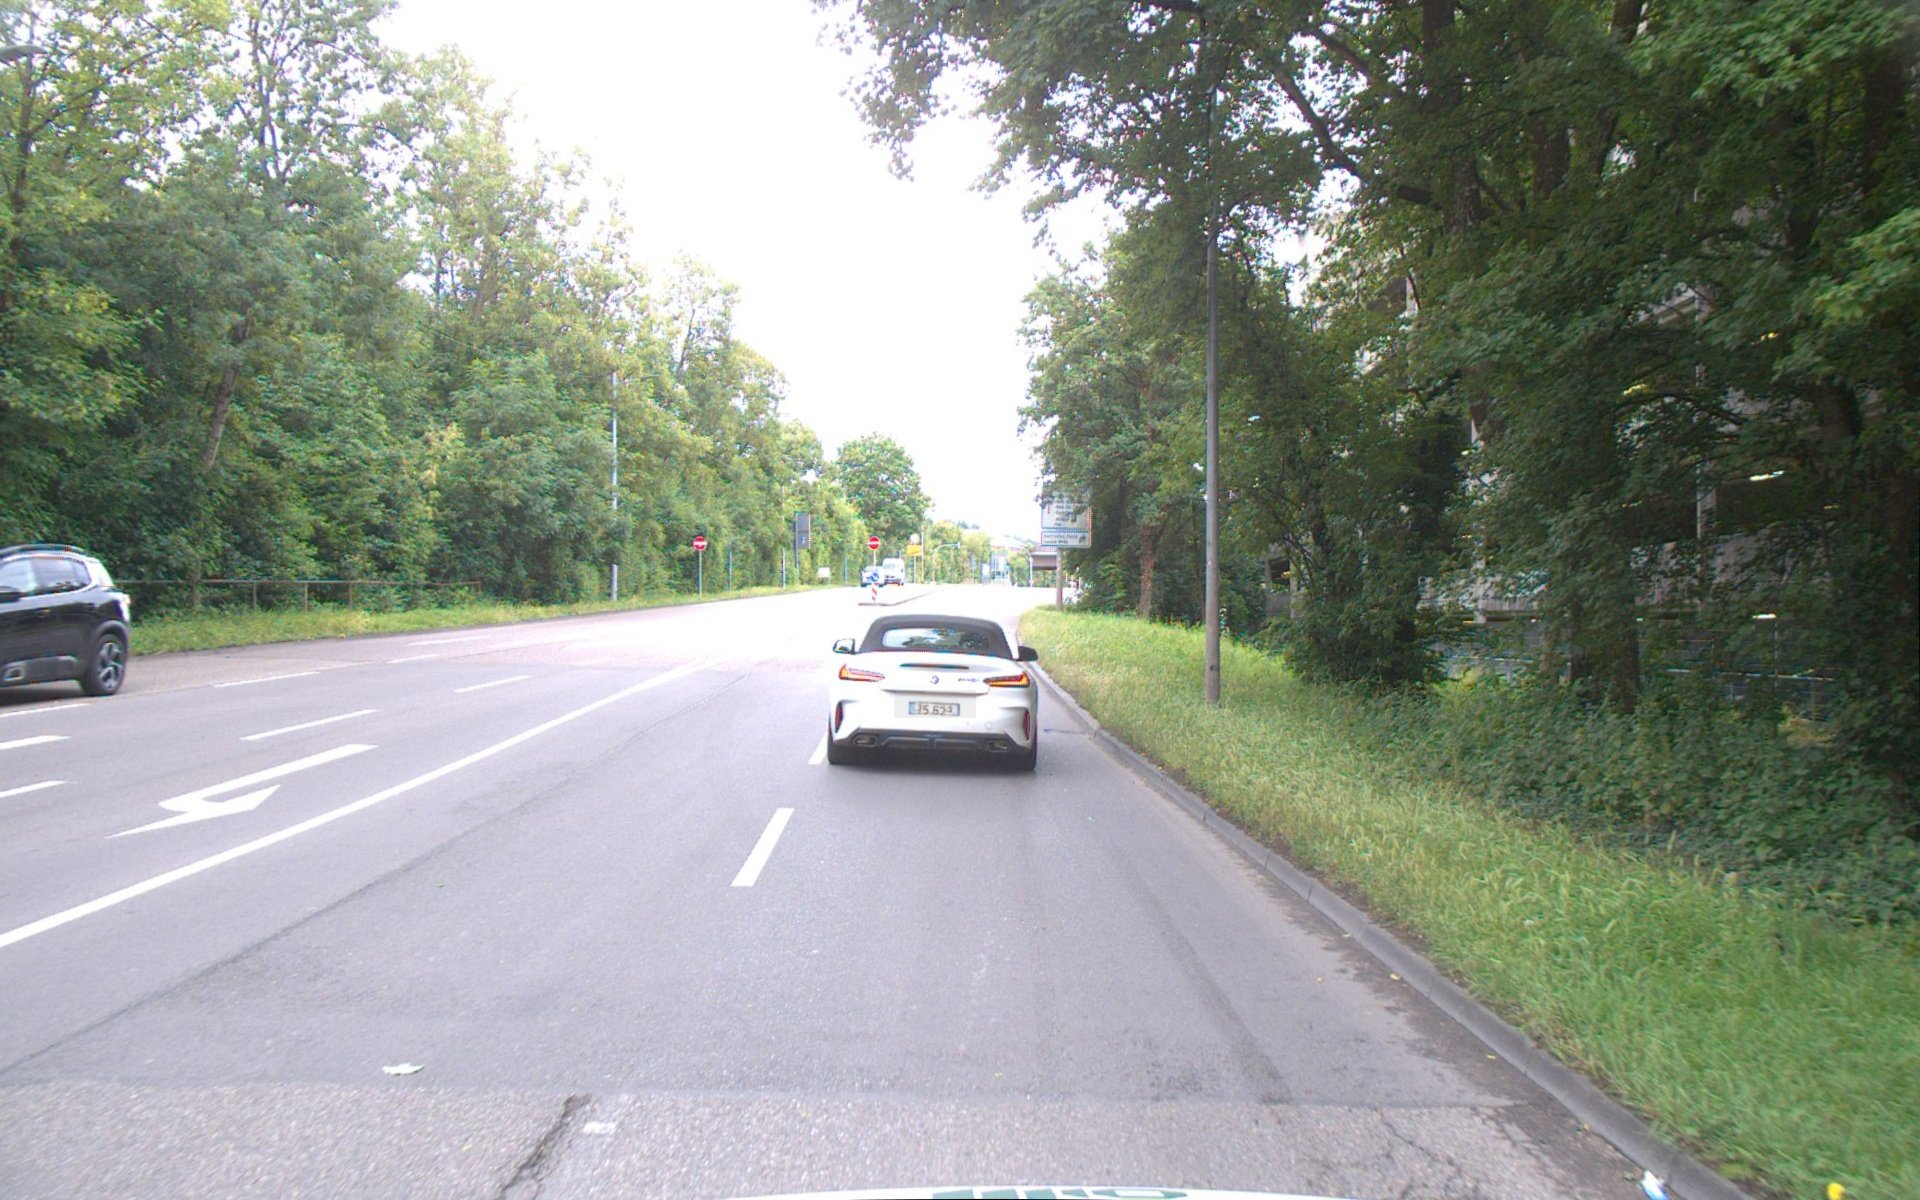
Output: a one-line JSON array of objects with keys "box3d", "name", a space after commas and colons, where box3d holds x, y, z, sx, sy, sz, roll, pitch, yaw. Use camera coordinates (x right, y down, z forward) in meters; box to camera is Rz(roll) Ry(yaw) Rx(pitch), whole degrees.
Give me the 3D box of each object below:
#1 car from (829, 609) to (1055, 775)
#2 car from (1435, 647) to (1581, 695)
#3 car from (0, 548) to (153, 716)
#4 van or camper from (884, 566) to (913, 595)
[{"box3d": [-0.191, 0.765, 15.476, 1.837, 1.332, 3.872, 1, 0, -2], "name": "car"}, {"box3d": [17.104, 2.203, 51.757, 3.923, 1.462, 1.949, 0, -1, -1], "name": "car"}, {"box3d": [-10.449, 0.287, 17.360, 1.784, 1.682, 4.222, 2, 0, 1], "name": "car"}, {"box3d": [-6.026, -1.969, 162.438, 2.236, 2.598, 6.862, 4, 2, 2], "name": "van or camper"}]
